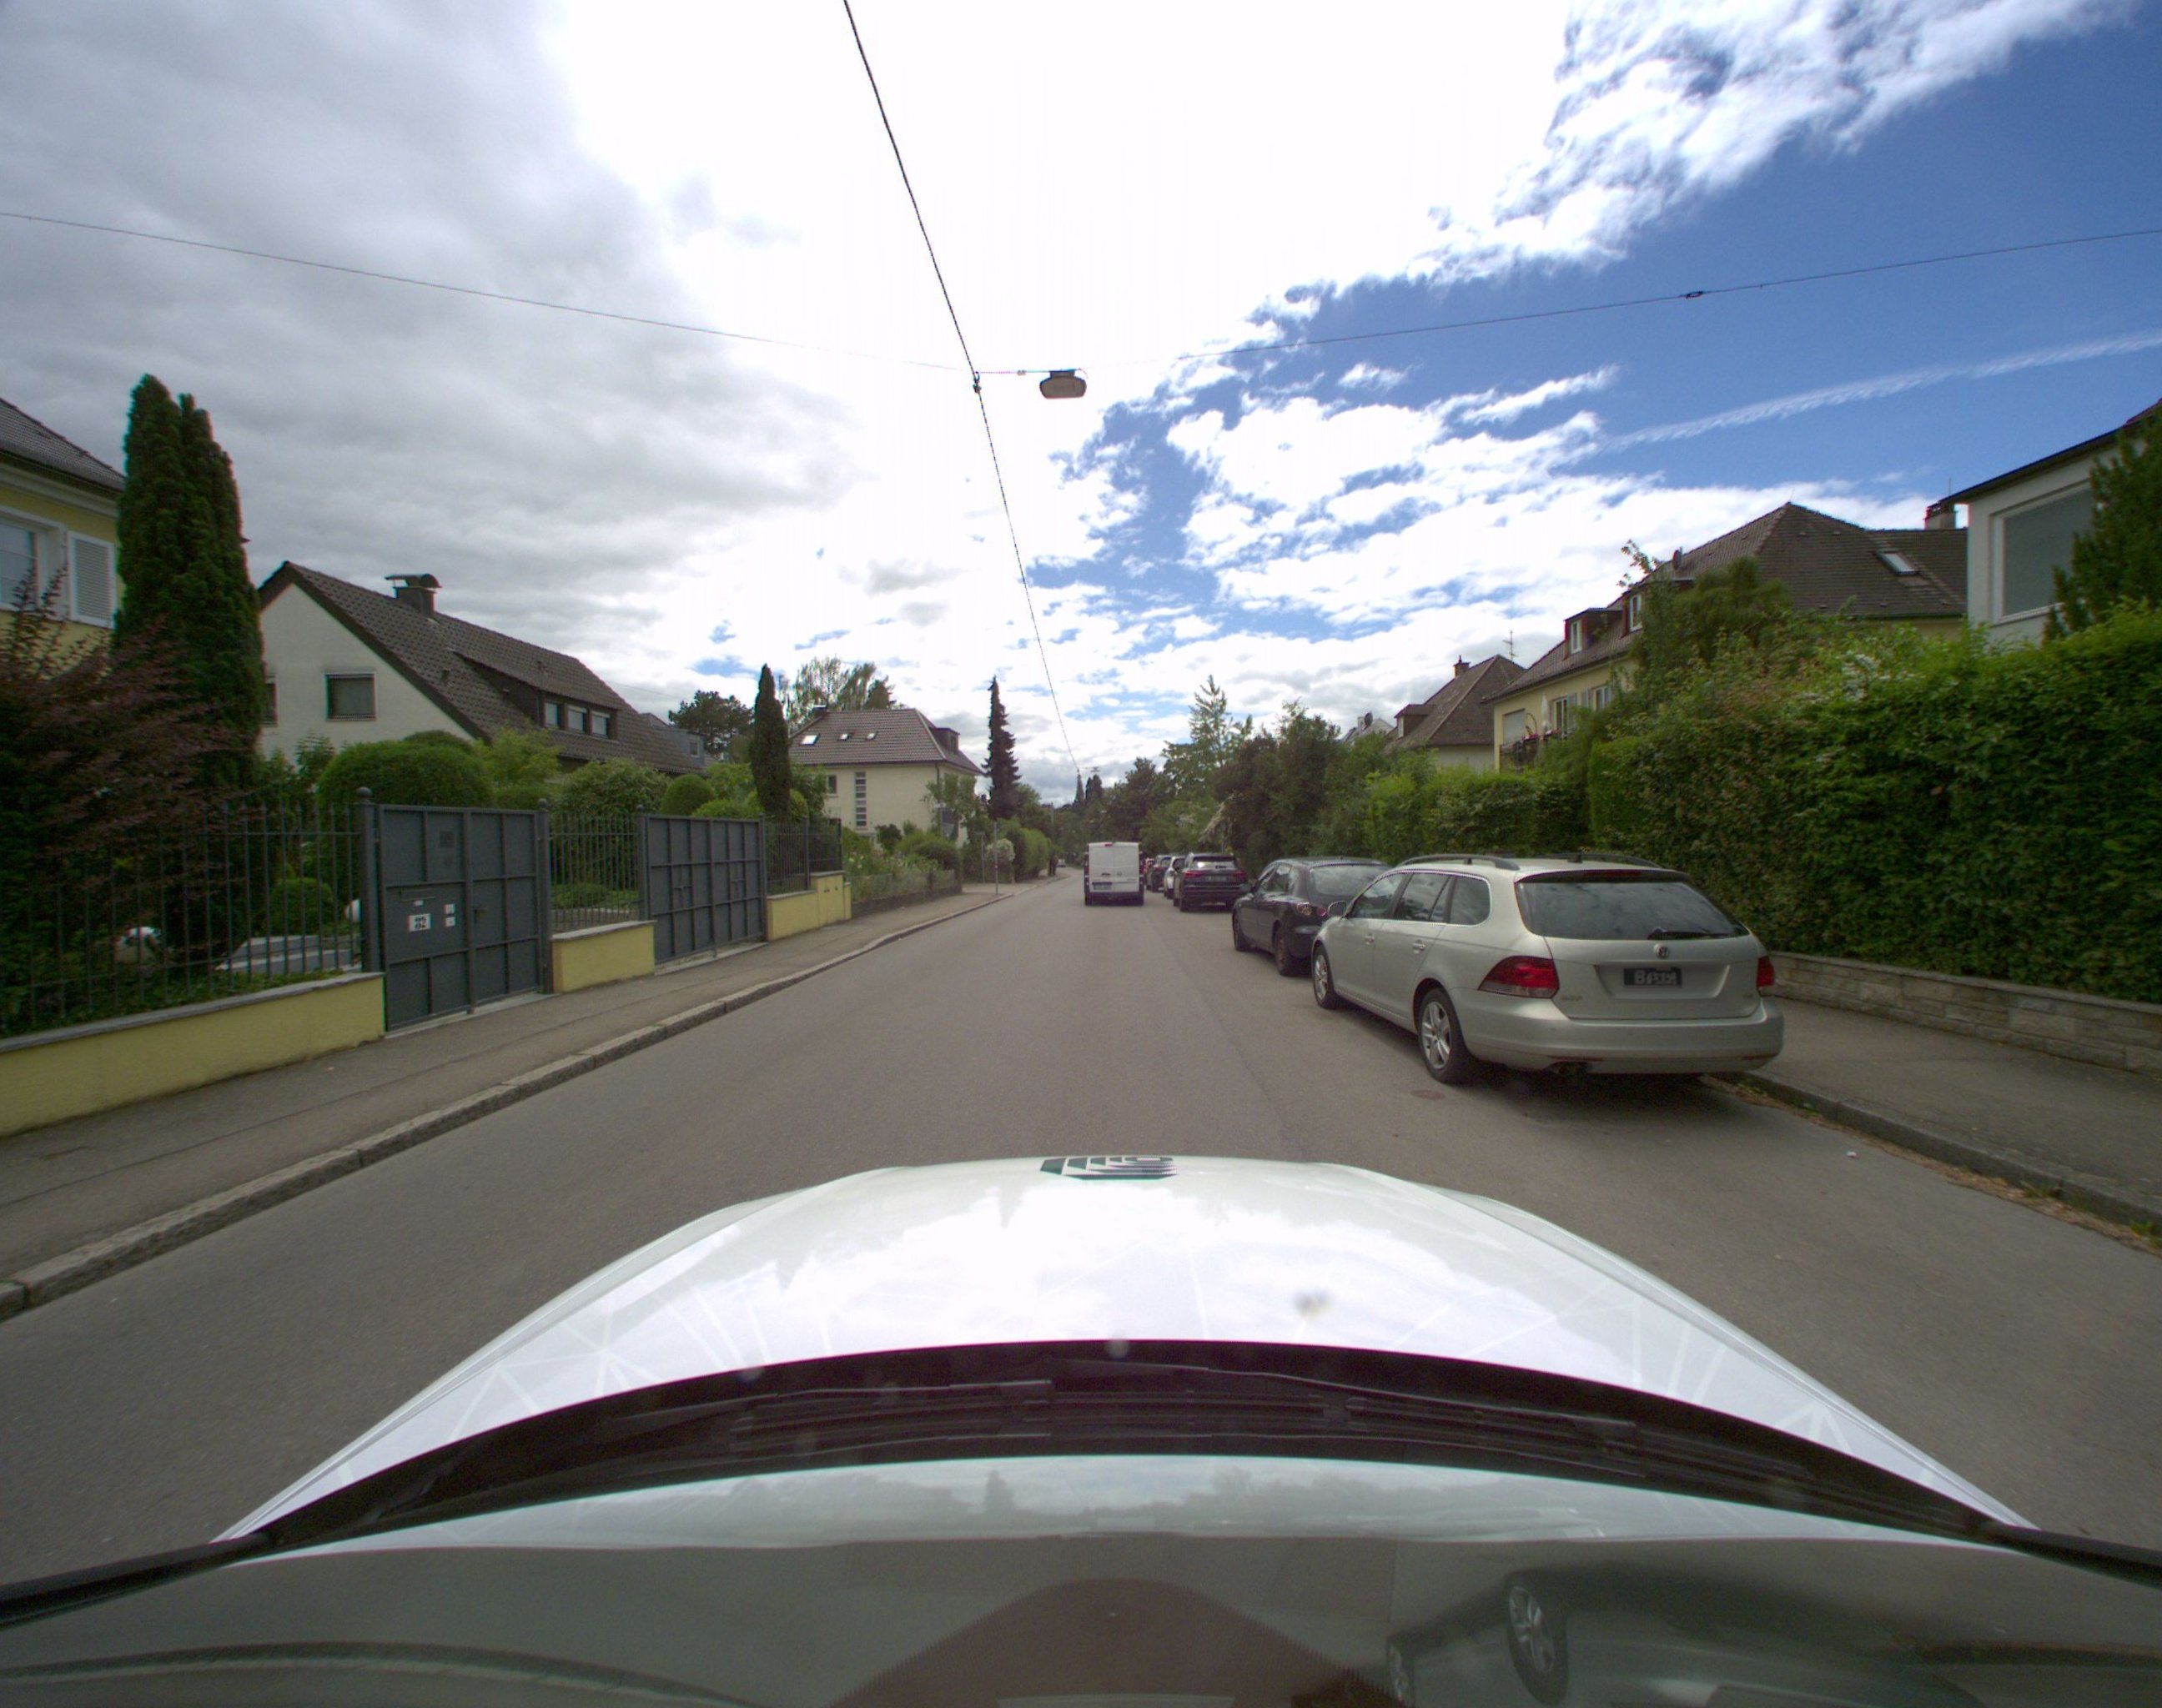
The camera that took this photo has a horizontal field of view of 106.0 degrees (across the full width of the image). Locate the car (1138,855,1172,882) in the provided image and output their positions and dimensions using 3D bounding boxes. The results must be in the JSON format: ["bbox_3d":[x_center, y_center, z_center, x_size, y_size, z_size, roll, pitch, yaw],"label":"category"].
[{"bbox_3d":[4.577,0.893,50.851,1.844,1.627,4.169,1,-1,1],"label":"car"}]

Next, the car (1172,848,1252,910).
[{"bbox_3d":[3.596,0.672,23.080,1.793,1.592,4.144,-1,-1,3],"label":"car"}]

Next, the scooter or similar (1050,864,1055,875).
[{"bbox_3d":[-3.000,1.603,85.184,0.390,1.171,1.270,-1,-1,0],"label":"scooter or similar"}]

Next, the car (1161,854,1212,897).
[{"bbox_3d":[3.871,0.769,30.249,1.592,1.510,3.014,-1,-1,2],"label":"car"}]

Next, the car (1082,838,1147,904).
[{"bbox_3d":[1.007,0.514,26.704,1.924,1.964,4.400,0,0,-1],"label":"car"}]

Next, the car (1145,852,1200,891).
[{"bbox_3d":[4.066,0.781,36.772,1.944,1.627,4.374,1,-1,0],"label":"car"}]

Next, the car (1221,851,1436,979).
[{"bbox_3d":[3.249,0.712,11.582,1.712,1.460,4.138,-1,0,-1],"label":"car"}]

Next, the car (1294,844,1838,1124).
[{"bbox_3d":[3.184,0.698,6.560,1.751,1.477,4.356,-1,0,-1],"label":"car"}]
